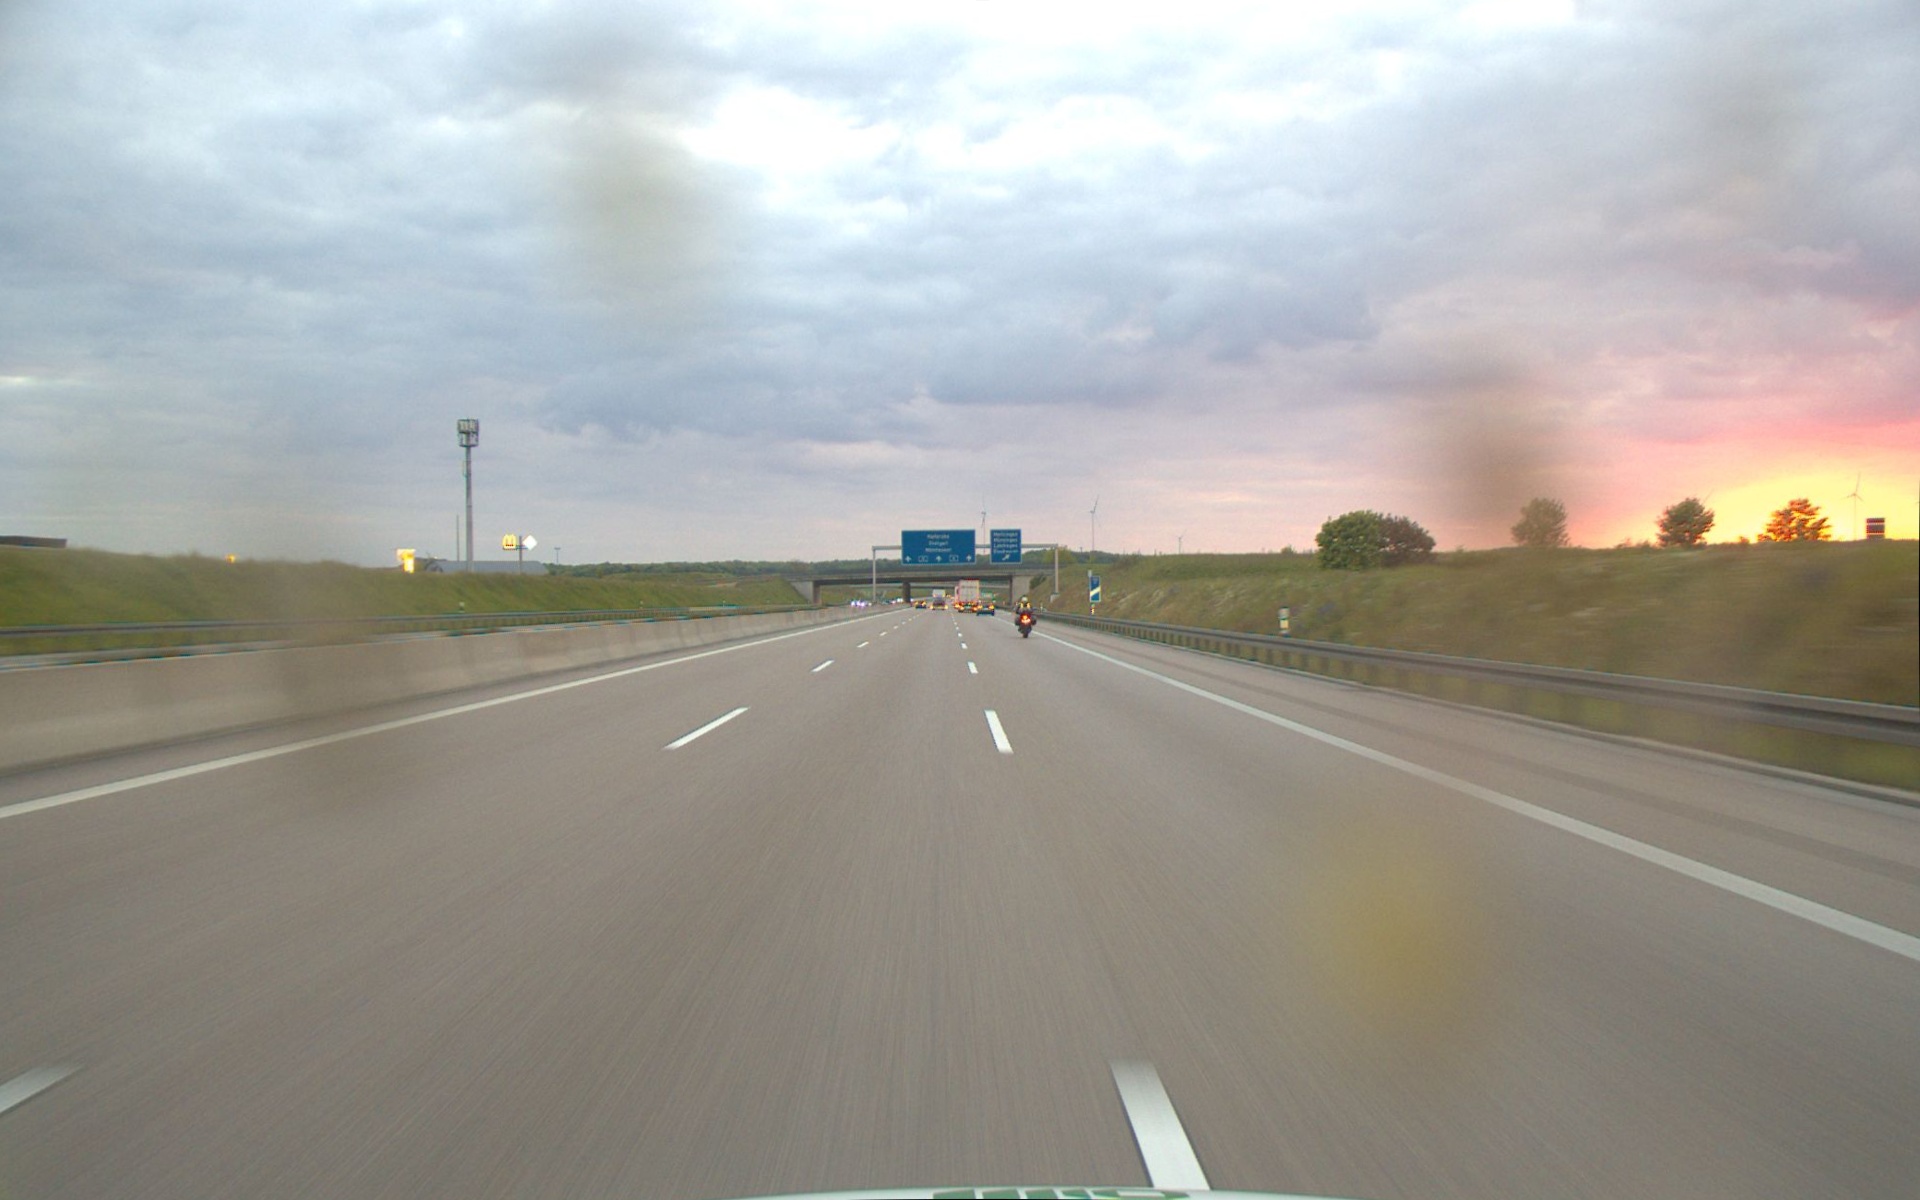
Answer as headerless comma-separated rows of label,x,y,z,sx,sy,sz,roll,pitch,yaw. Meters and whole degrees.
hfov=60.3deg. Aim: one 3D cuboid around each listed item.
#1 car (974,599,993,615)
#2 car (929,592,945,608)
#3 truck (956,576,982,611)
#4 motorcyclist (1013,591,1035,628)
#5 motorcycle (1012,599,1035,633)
car,2.389,0.692,170.248,1.879,1.607,3.999,0,0,-1
car,-3.520,0.054,253.322,2.465,2.433,6.494,0,0,-1
truck,1.079,-0.901,212.578,3.167,4.301,9.598,1,0,0
motorcyclist,2.689,0.393,69.718,0.848,1.513,1.168,1,0,0
motorcycle,2.675,0.669,69.845,0.883,1.370,2.348,0,1,0
